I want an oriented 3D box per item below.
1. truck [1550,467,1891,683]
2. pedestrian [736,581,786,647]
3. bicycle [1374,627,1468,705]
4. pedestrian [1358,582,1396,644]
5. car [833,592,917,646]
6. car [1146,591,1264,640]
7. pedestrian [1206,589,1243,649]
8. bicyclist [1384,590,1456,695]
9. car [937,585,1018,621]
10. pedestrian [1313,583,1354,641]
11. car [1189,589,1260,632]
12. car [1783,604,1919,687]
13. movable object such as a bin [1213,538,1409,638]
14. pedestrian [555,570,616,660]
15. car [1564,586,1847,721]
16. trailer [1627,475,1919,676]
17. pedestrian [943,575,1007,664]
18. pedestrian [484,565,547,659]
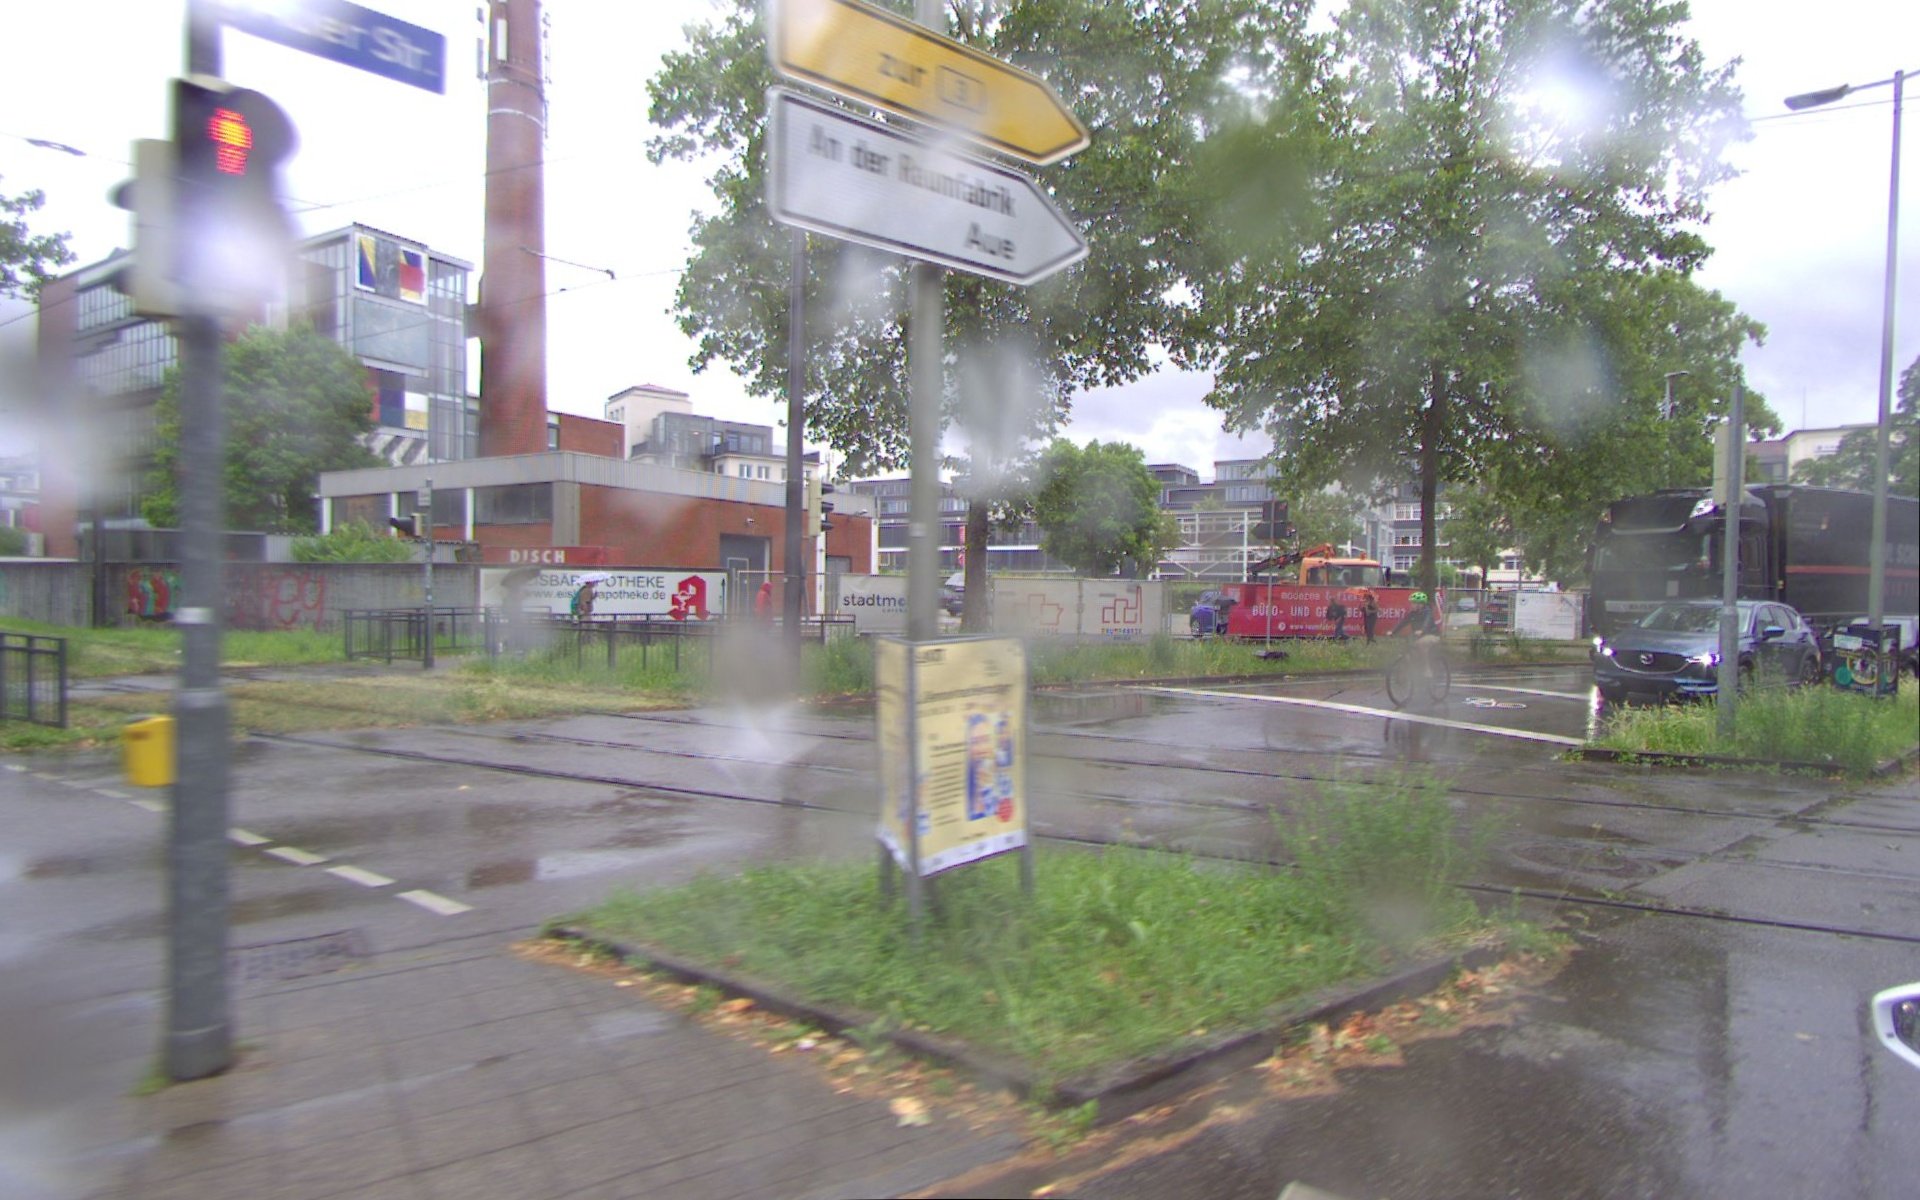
[{"bbox_3d":[16.954,-0.500,22.377,6.886,4.133,3.436,0,1,-28],"label":"truck"},{"bbox_3d":[-4.720,0.329,23.876,0.815,1.525,0.846,0,0,35],"label":"pedestrian"},{"bbox_3d":[6.733,0.926,14.640,1.860,1.038,0.527,0,0,-41],"label":"bicycle"},{"bbox_3d":[11.536,0.348,27.793,0.890,1.671,0.754,1,0,17],"label":"pedestrian"},{"bbox_3d":[-2.440,0.485,28.128,1.812,1.339,3.654,0,1,-14],"label":"car"},{"bbox_3d":[7.459,0.434,30.885,1.815,1.339,3.648,0,1,-20],"label":"car"},{"bbox_3d":[6.940,0.495,26.335,0.757,1.535,0.642,0,0,-6],"label":"pedestrian"},{"bbox_3d":[6.699,0.597,14.618,1.003,1.480,0.574,0,1,-41],"label":"bicyclist"},{"bbox_3d":[0.983,0.127,53.496,2.132,1.765,4.793,1,1,32],"label":"car"},{"bbox_3d":[10.411,0.333,27.980,0.864,1.602,0.642,0,0,-6],"label":"pedestrian"},{"bbox_3d":[12.168,0.446,46.055,1.966,1.816,3.988,1,2,33],"label":"car"},{"bbox_3d":[17.679,0.792,19.269,4.053,1.392,1.689,0,1,-31],"label":"car"},{"bbox_3d":[11.449,-0.419,33.598,2.730,2.970,6.753,0,1,-17],"label":"movable object such as a bin"},{"bbox_3d":[-8.042,0.308,21.557,0.940,1.887,0.846,0,0,35],"label":"pedestrian"},{"bbox_3d":[11.937,0.703,16.004,4.877,1.705,2.061,-1,4,-34],"label":"car"},{"bbox_3d":[23.055,-0.495,25.623,14.860,4.103,3.428,0,1,-28],"label":"trailer"},{"bbox_3d":[0.338,0.444,23.068,1.196,1.991,0.908,1,1,-19],"label":"pedestrian"},{"bbox_3d":[-9.248,0.244,20.893,0.940,1.887,0.846,0,0,35],"label":"pedestrian"}]
